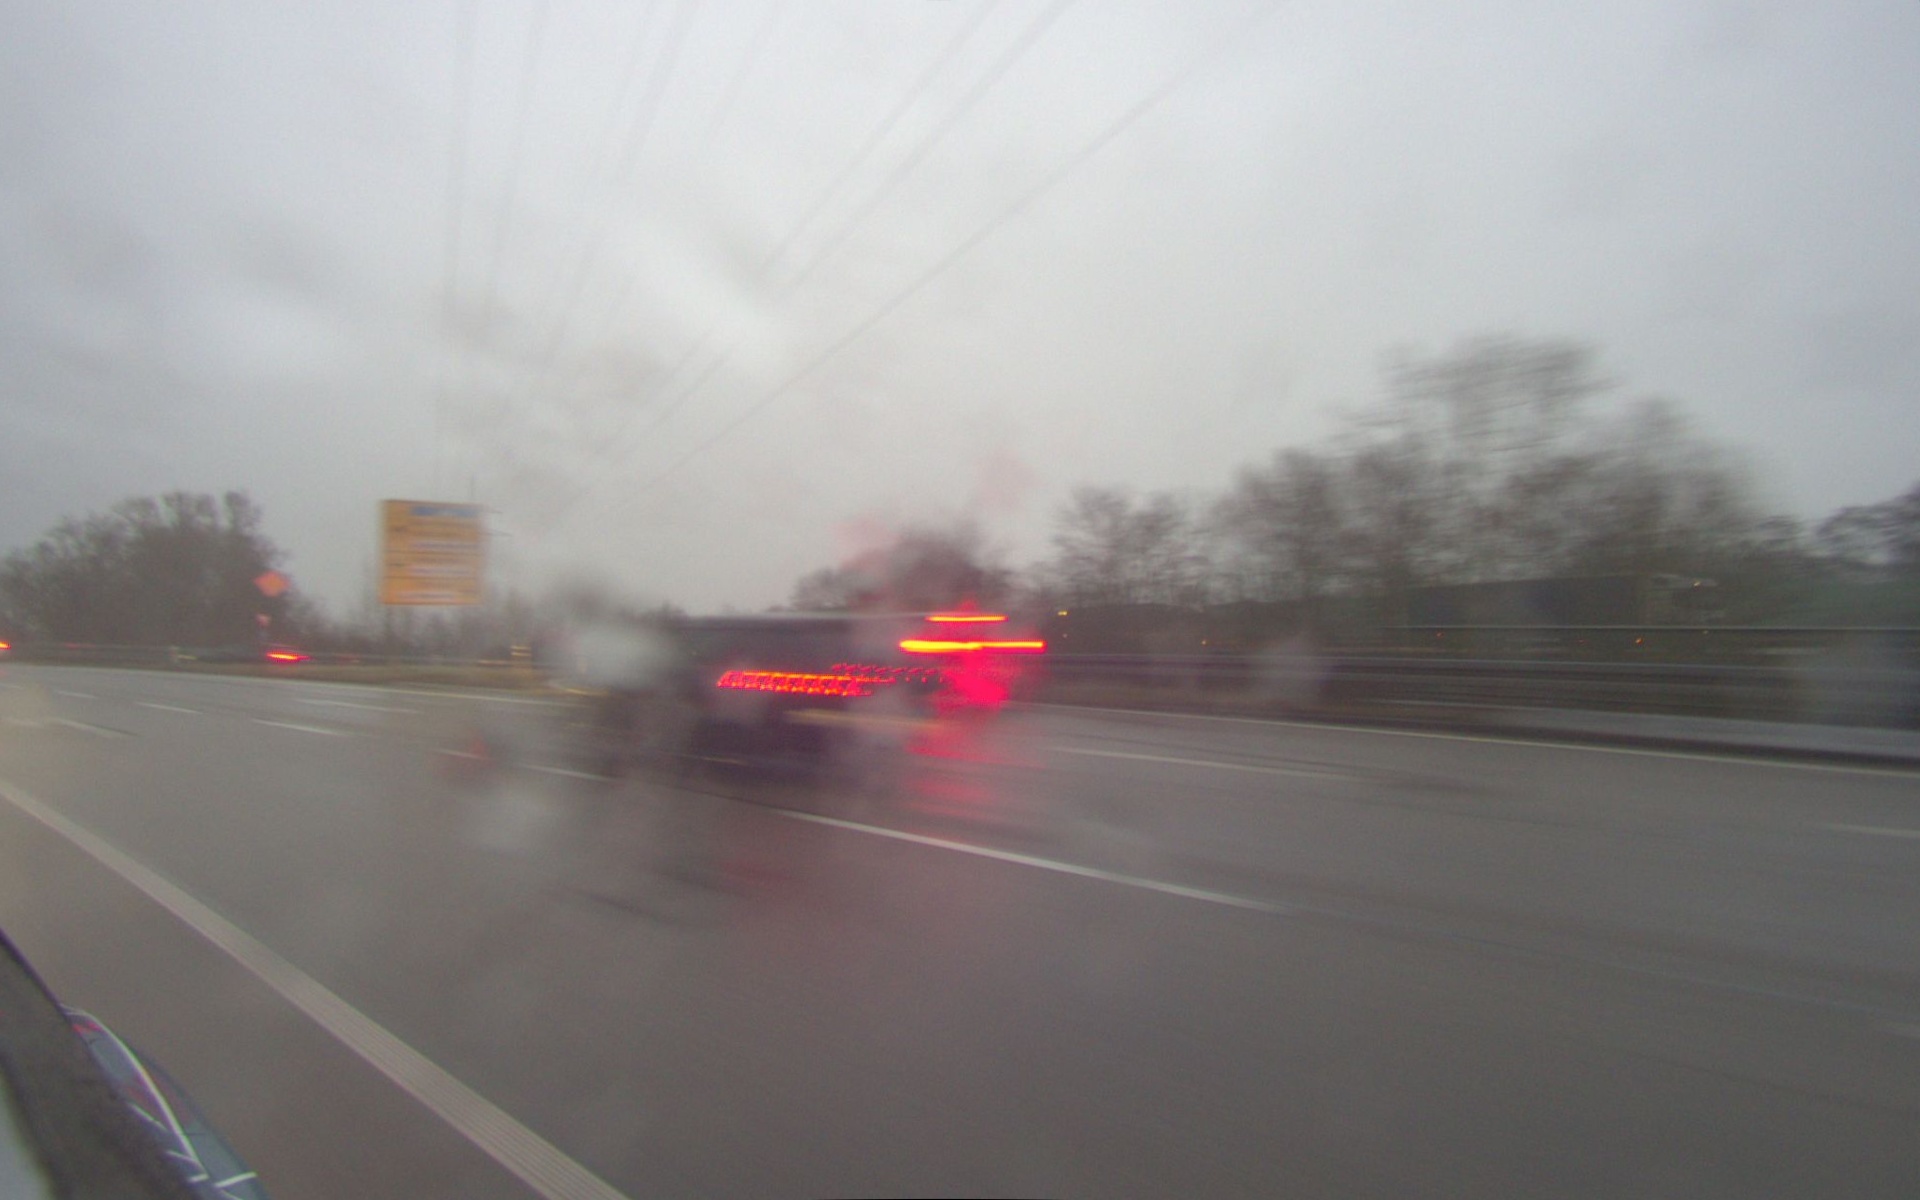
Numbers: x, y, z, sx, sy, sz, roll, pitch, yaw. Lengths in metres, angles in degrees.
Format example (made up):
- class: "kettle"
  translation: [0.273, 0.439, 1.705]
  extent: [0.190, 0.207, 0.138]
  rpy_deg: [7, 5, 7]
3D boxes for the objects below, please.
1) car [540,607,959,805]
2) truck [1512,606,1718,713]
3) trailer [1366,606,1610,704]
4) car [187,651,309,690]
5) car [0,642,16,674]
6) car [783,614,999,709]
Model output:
- class: "car"
  translation: [-2.085, 0.836, 9.386]
  extent: [3.997, 1.428, 1.678]
  rpy_deg: [-2, -1, 40]
- class: "truck"
  translation: [34.166, 2.922, 53.277]
  extent: [3.229, 5.169, 8.545]
  rpy_deg: [0, -1, -29]
- class: "trailer"
  translation: [30.589, 2.955, 59.818]
  extent: [3.255, 5.142, 13.271]
  rpy_deg: [1, -1, -28]
- class: "car"
  translation: [-33.377, 3.324, 47.563]
  extent: [4.218, 1.689, 2.003]
  rpy_deg: [0, -5, -8]
- class: "car"
  translation: [-53.081, 3.152, 54.641]
  extent: [3.841, 1.645, 1.901]
  rpy_deg: [-4, -6, 28]
- class: "car"
  translation: [-1.233, 0.919, 16.159]
  extent: [1.574, 1.253, 4.010]
  rpy_deg: [-3, 0, -35]
